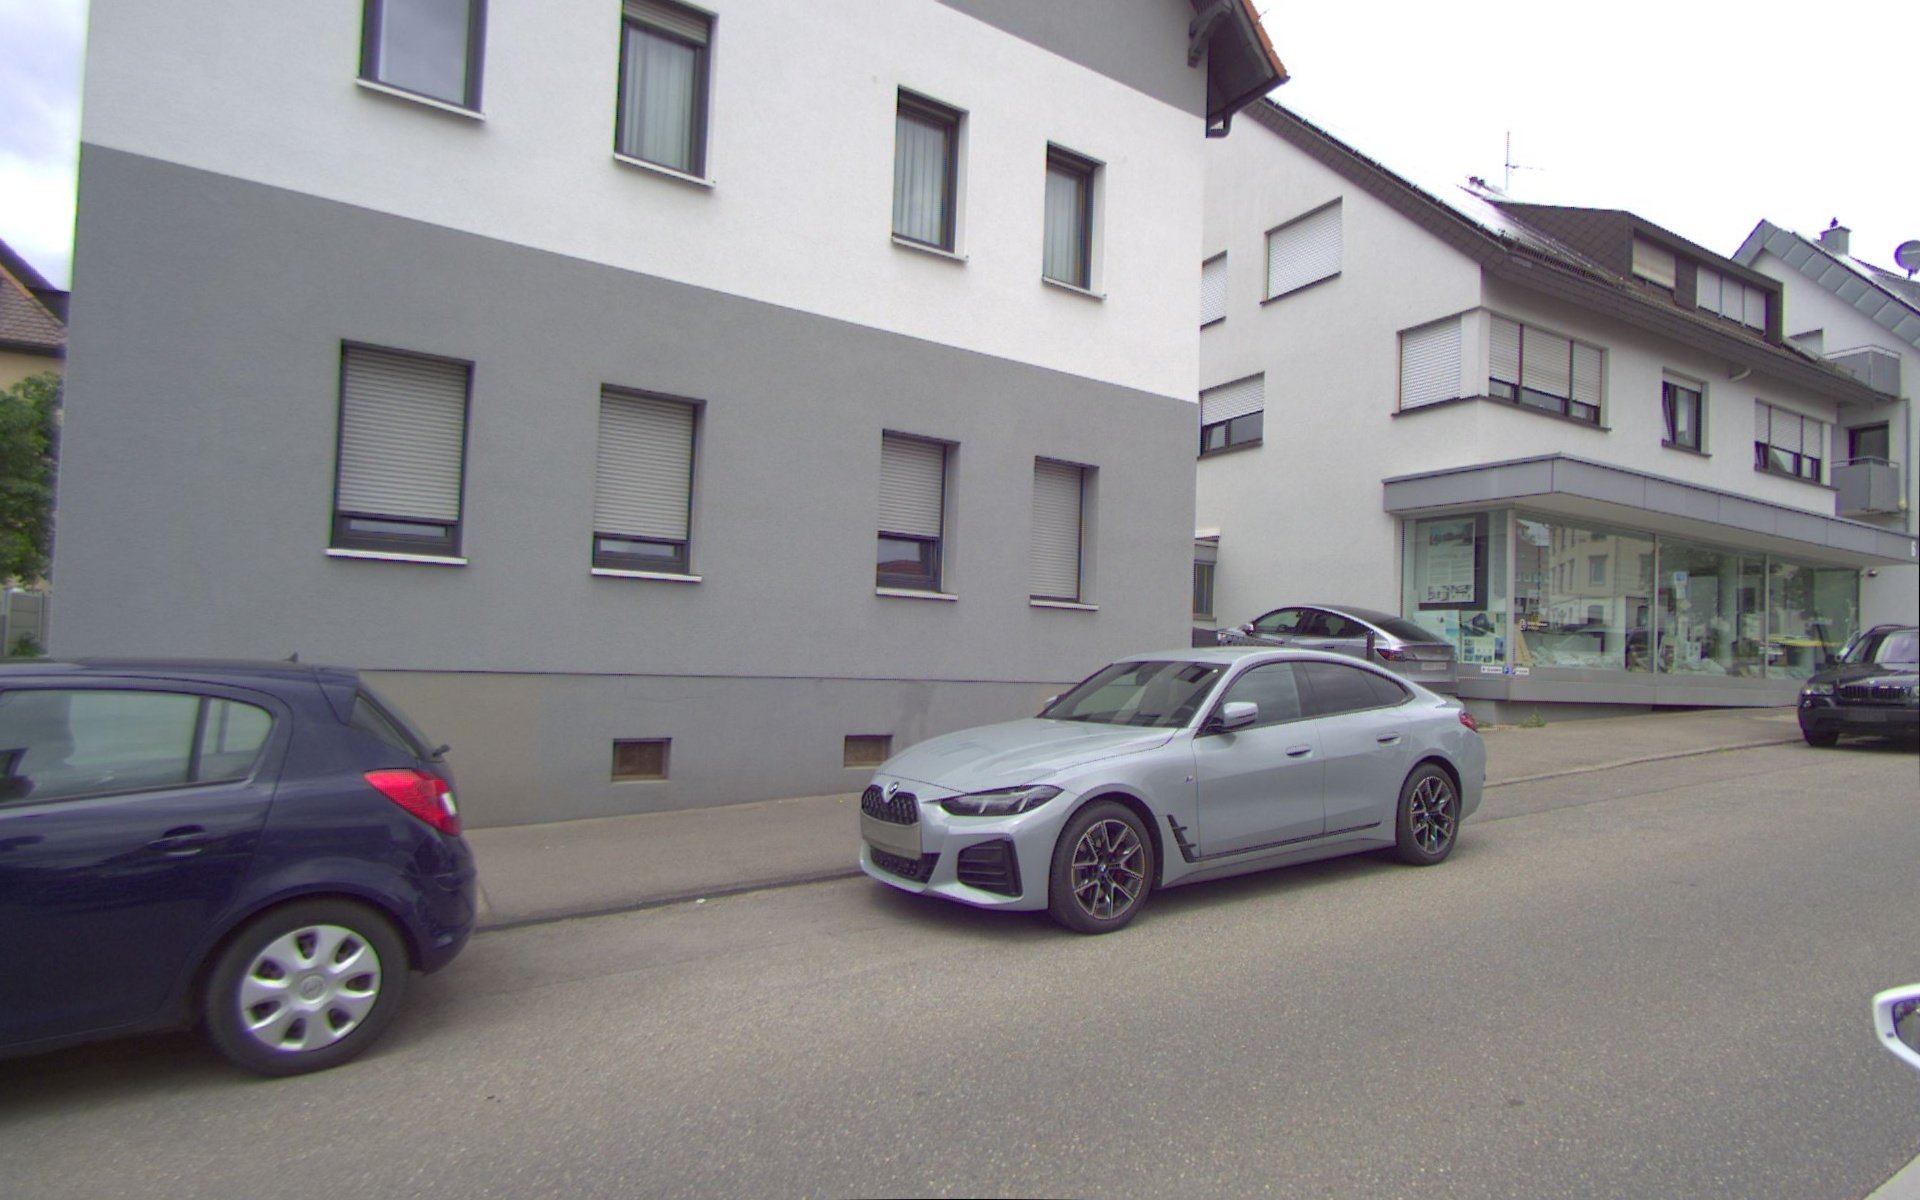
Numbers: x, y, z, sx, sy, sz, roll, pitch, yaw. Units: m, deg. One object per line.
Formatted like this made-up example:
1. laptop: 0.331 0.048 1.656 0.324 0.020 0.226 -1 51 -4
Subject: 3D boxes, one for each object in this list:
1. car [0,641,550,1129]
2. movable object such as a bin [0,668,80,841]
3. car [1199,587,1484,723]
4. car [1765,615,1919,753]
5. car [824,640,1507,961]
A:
1. car: -3.748 0.906 3.589 3.959 1.464 1.826 1 -4 -34
2. movable object such as a bin: -6.830 1.074 7.118 0.755 1.127 0.721 1 1 -31
3. car: 5.981 0.852 16.223 1.976 1.880 3.970 1 -2 -29
4. car: 13.085 1.074 13.747 4.358 1.654 1.828 1 -3 -31
5. car: 1.494 1.027 6.665 4.419 1.464 1.828 1 -3 -33
